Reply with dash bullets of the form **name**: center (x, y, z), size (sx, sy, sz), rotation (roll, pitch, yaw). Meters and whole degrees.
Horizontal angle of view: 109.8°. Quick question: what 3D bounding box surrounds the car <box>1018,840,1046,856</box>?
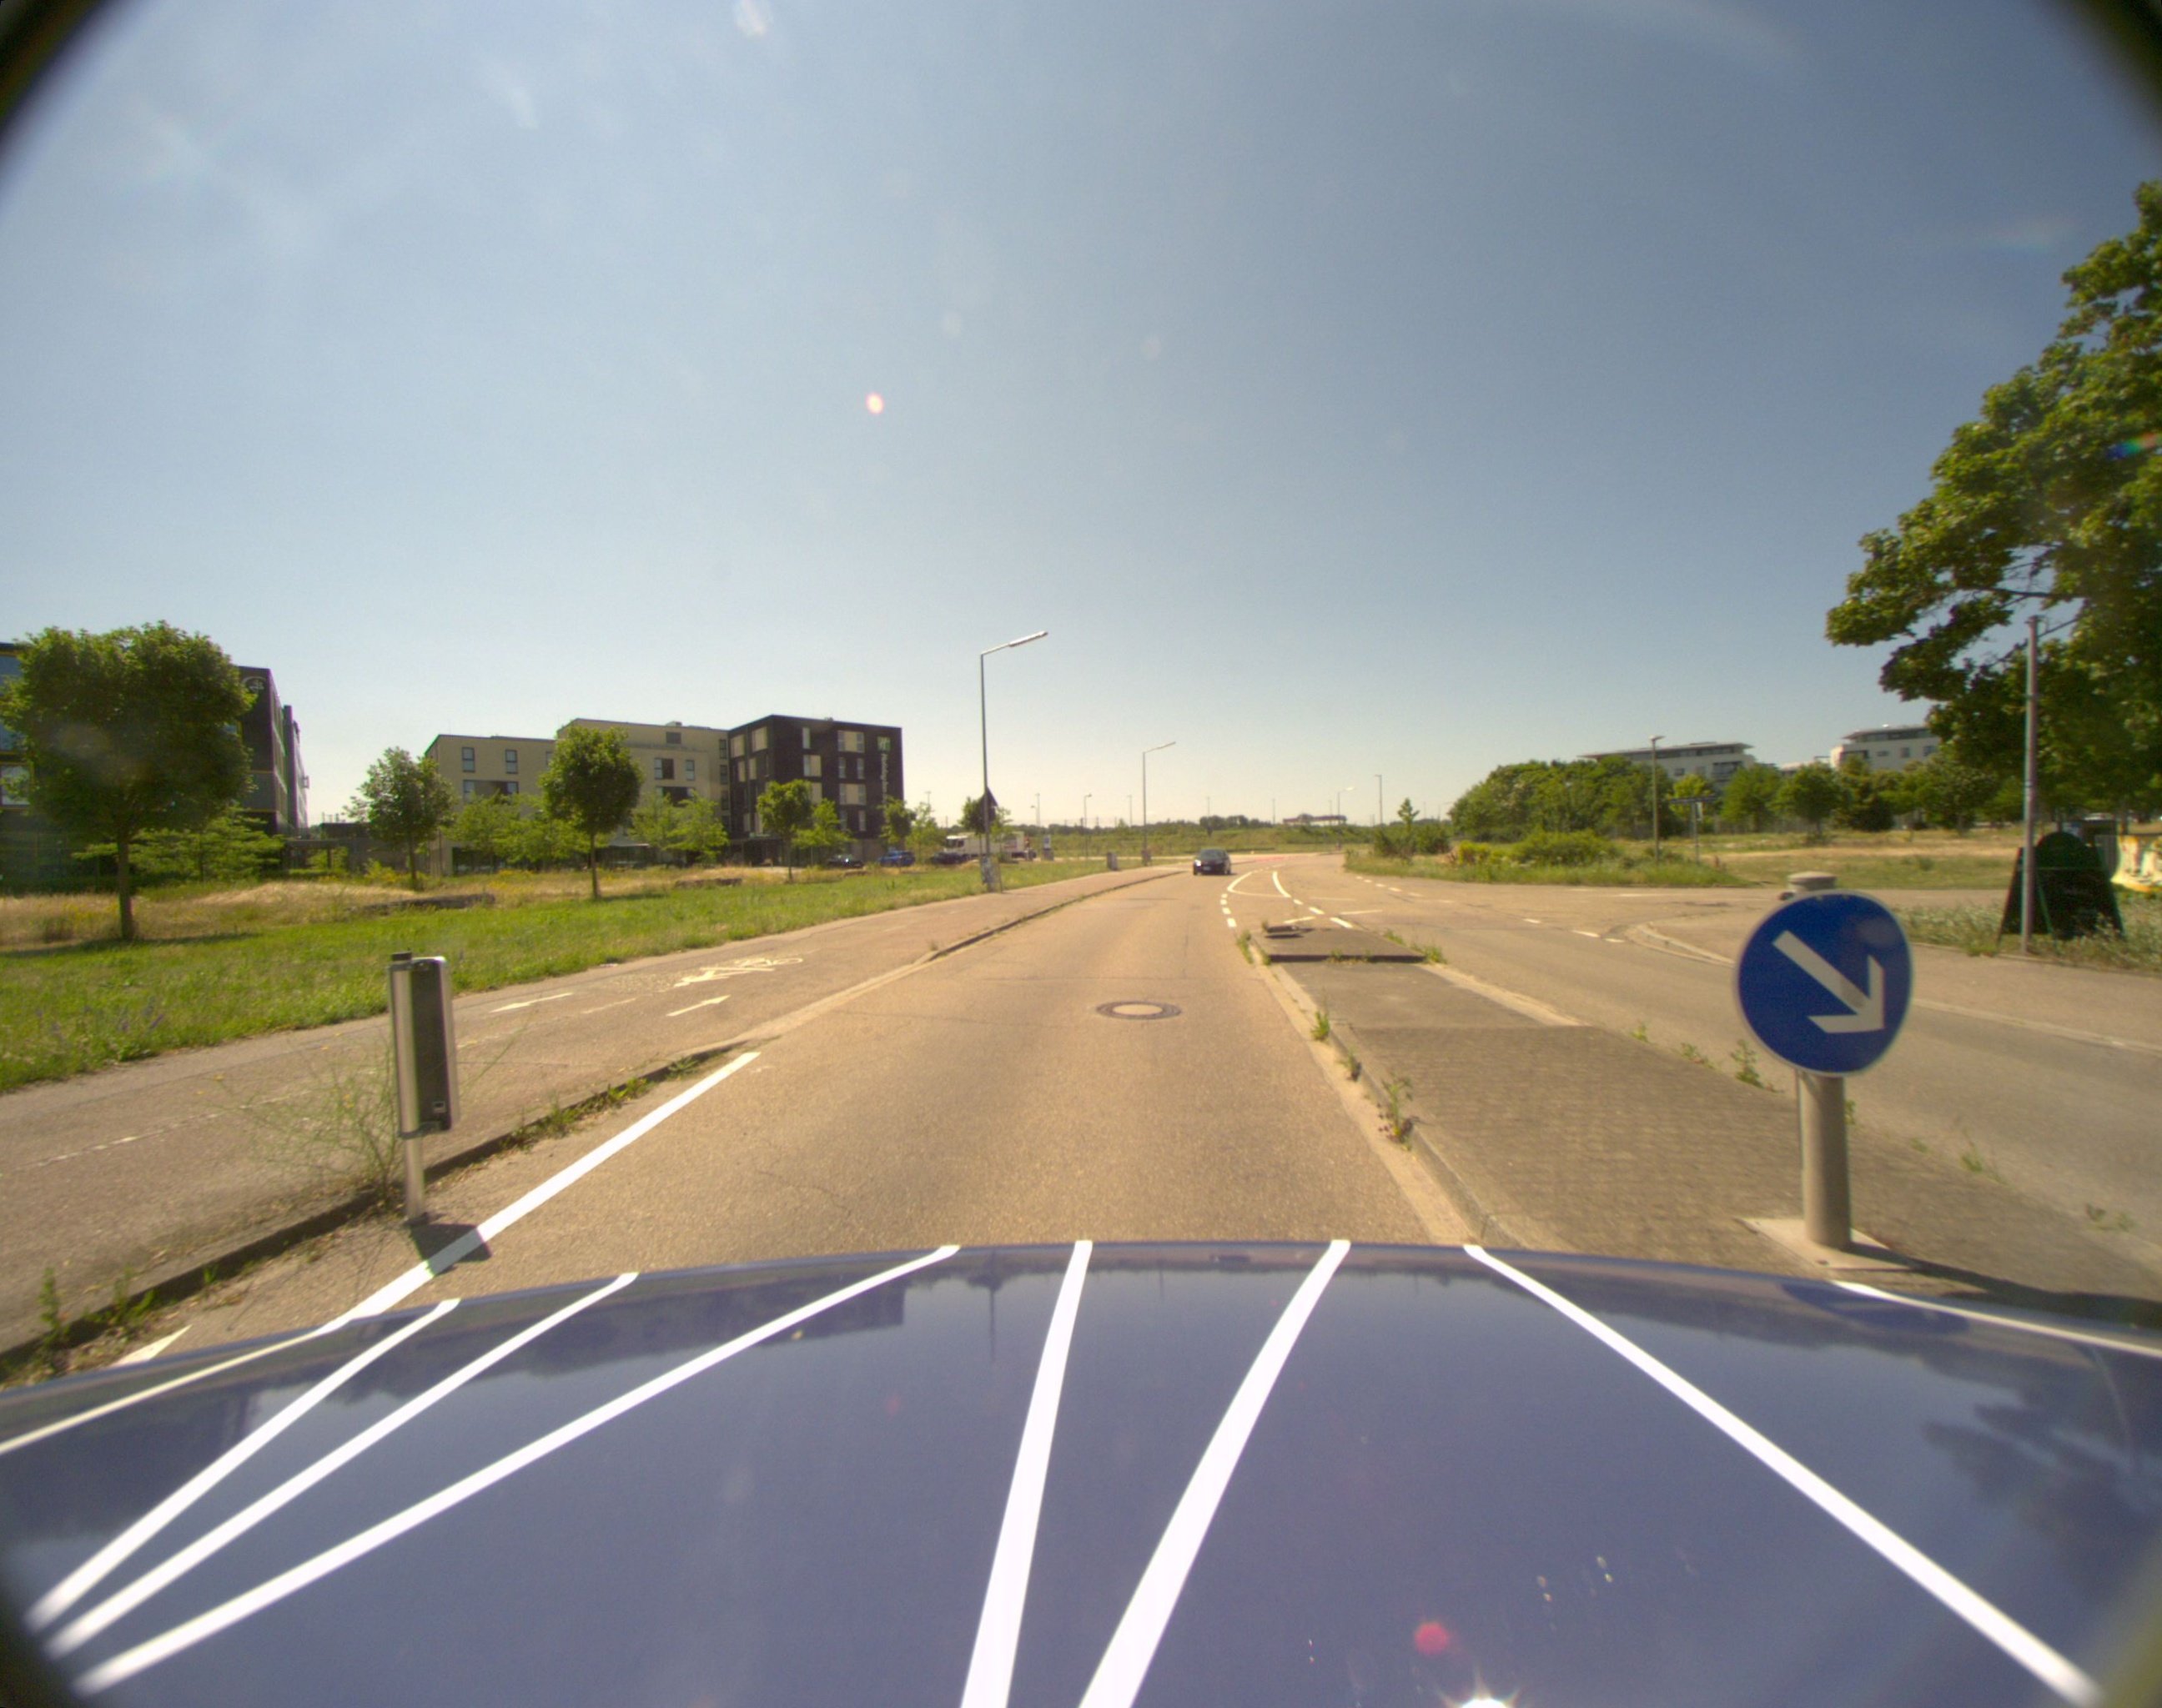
- **car**: center (-6.968, -0.809, 107.844), size (1.883, 2.003, 3.905), rotation (-7, 5, -43)

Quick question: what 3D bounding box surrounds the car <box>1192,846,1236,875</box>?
- **car**: center (7.285, 0.326, 41.264), size (1.651, 1.458, 4.165), rotation (-1, 1, 20)

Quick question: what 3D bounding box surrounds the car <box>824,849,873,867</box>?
- **car**: center (-19.569, 0.332, 63.979), size (4.114, 1.436, 1.966), rotation (-1, 2, 40)

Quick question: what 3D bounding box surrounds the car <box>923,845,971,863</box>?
- **car**: center (-12.401, -0.025, 70.255), size (4.495, 1.553, 2.036), rotation (0, 2, 44)

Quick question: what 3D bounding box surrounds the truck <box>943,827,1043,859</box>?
- **truck**: center (-10.032, -1.385, 88.314), size (12.162, 3.443, 3.009), rotation (-3, 3, -43)

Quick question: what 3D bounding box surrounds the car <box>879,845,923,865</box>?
- **car**: center (-15.996, 0.088, 67.465), size (4.059, 1.642, 1.958), rotation (0, 2, 45)
